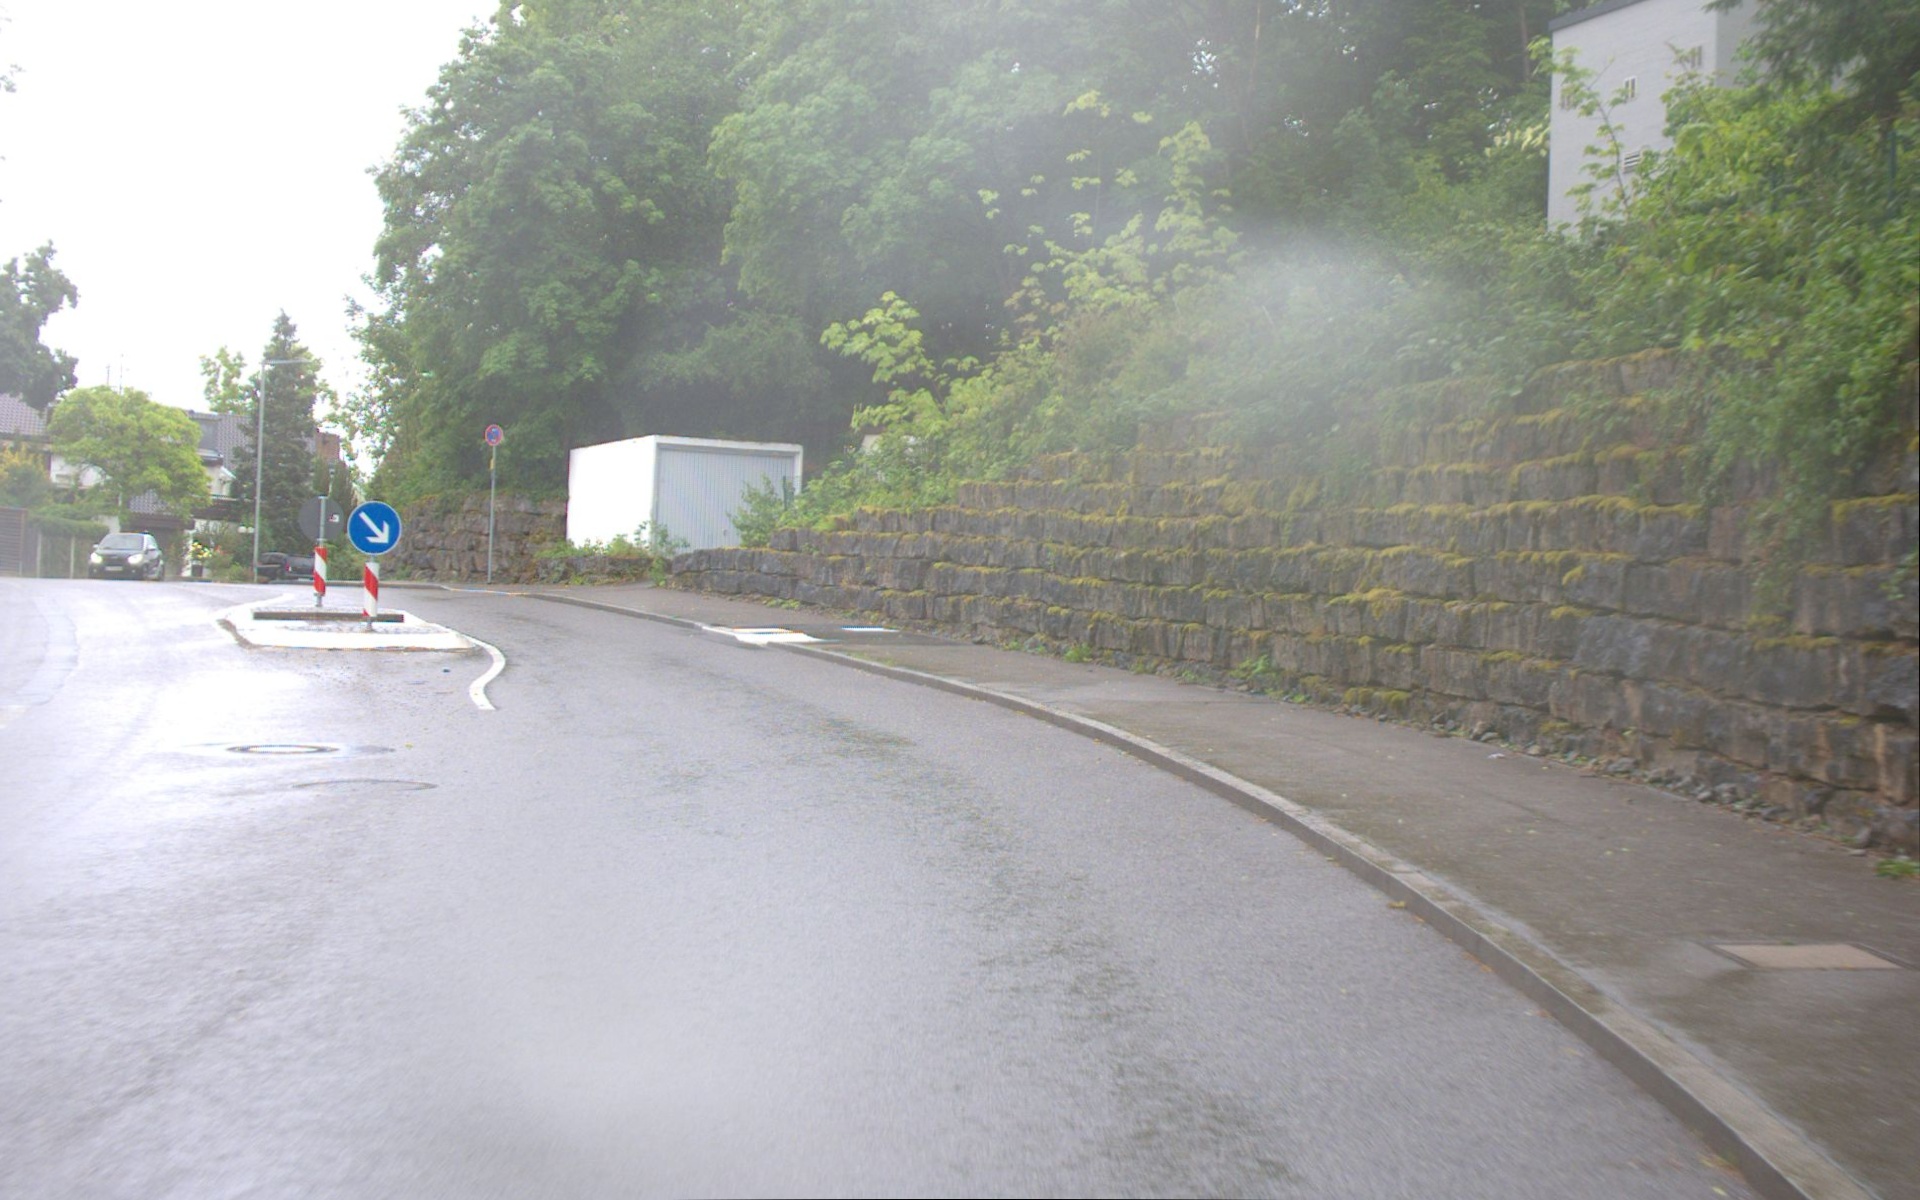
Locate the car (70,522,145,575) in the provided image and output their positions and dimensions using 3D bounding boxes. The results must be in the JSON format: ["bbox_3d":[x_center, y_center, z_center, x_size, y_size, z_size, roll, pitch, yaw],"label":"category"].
[{"bbox_3d":[-25.307,-1.550,102.162,1.831,1.515,4.628,1,1,-10],"label":"car"}]

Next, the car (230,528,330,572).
[{"bbox_3d":[-25.532,-1.880,129.067,1.935,1.384,3.999,6,-2,-39],"label":"car"}]
